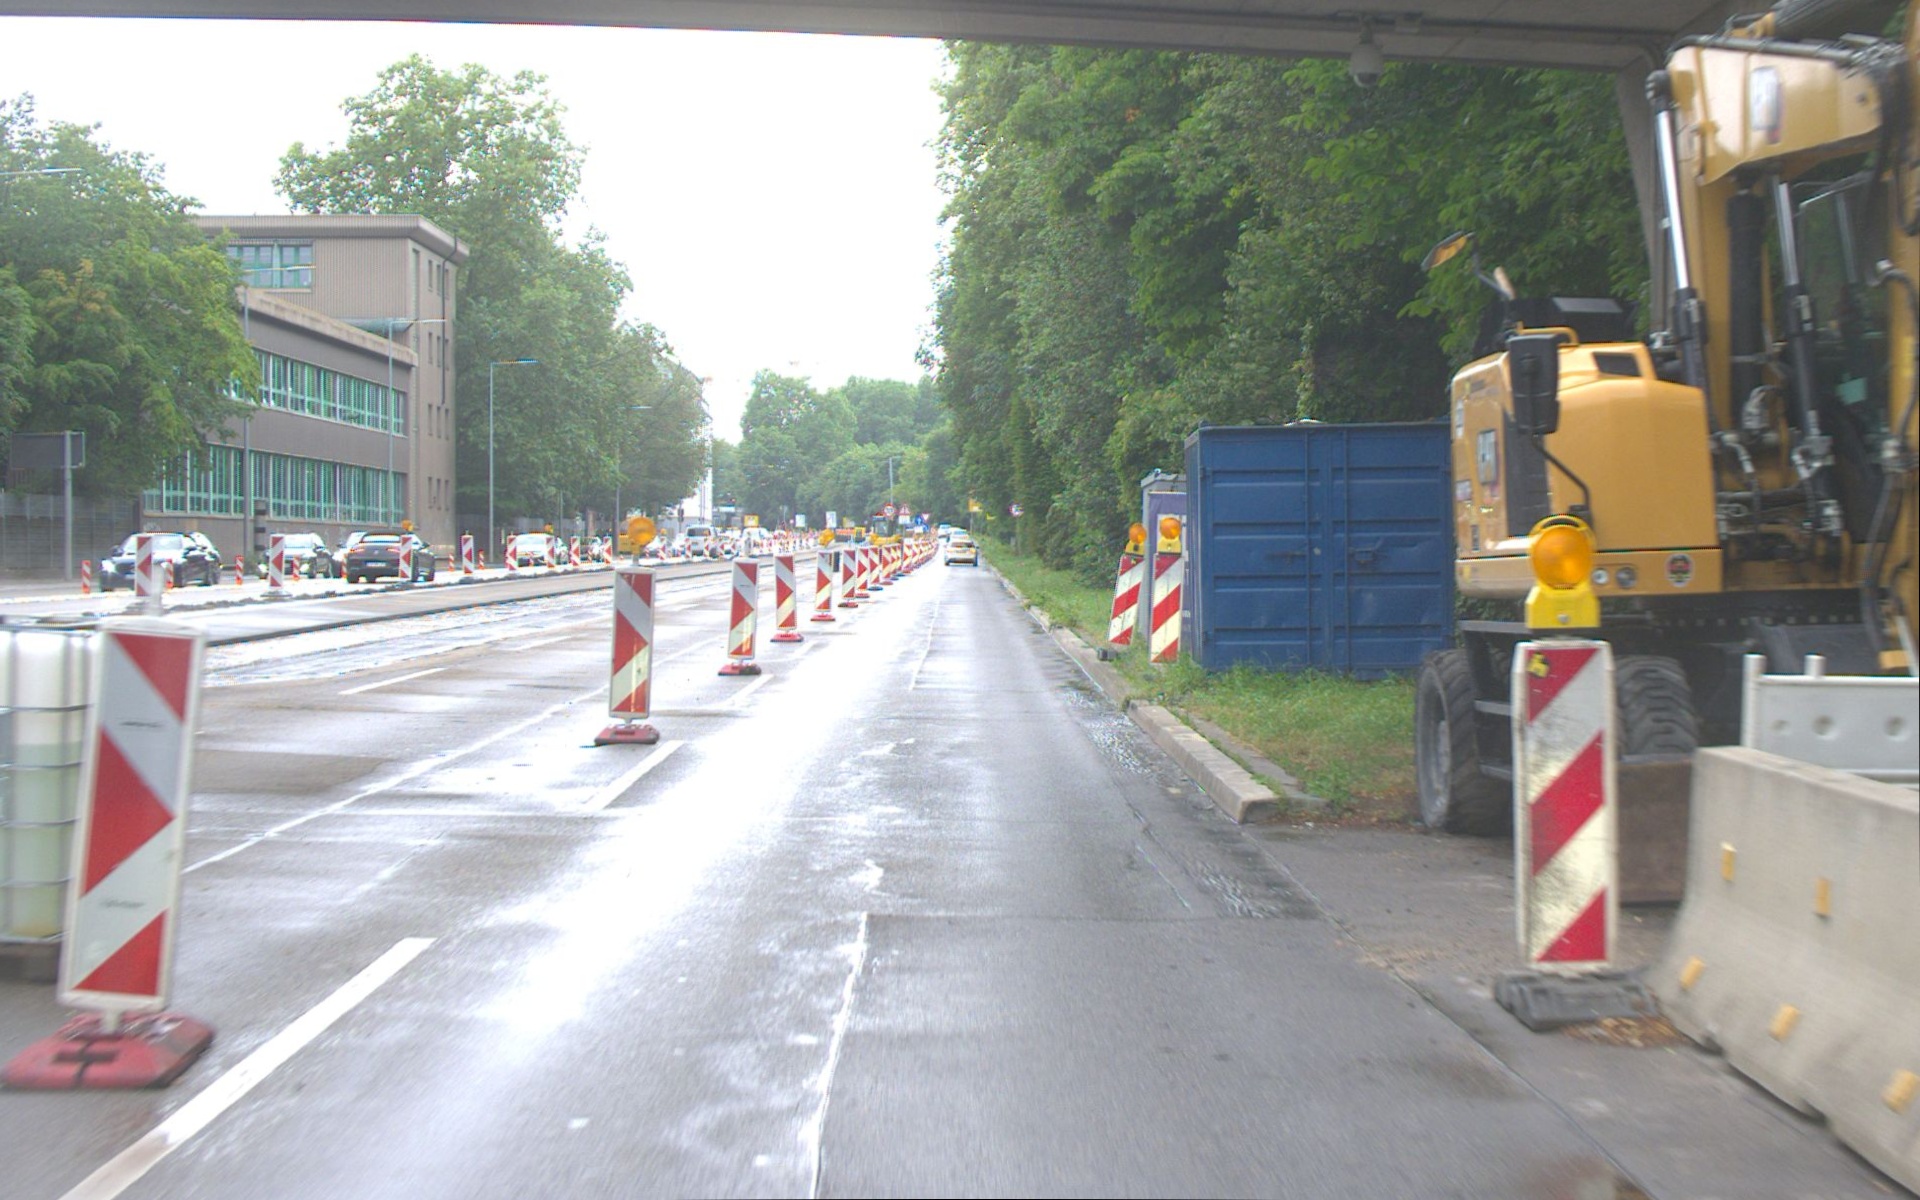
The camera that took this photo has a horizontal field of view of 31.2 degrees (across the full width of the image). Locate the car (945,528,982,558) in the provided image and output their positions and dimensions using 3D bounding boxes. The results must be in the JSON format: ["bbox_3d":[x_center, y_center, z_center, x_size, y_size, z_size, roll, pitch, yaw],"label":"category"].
[{"bbox_3d":[0.202,-3.144,190.141,1.993,1.634,4.000,0,1,0],"label":"car"}]

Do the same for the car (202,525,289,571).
[{"bbox_3d":[-22.902,-1.678,110.273,1.971,1.437,4.000,0,1,0],"label":"car"}]

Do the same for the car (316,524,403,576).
[{"bbox_3d":[-17.021,-1.427,97.636,1.723,1.437,4.000,0,1,1],"label":"car"}]

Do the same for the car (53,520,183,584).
[{"bbox_3d":[-19.415,-1.115,79.440,1.971,1.437,4.000,0,1,1],"label":"car"}]
